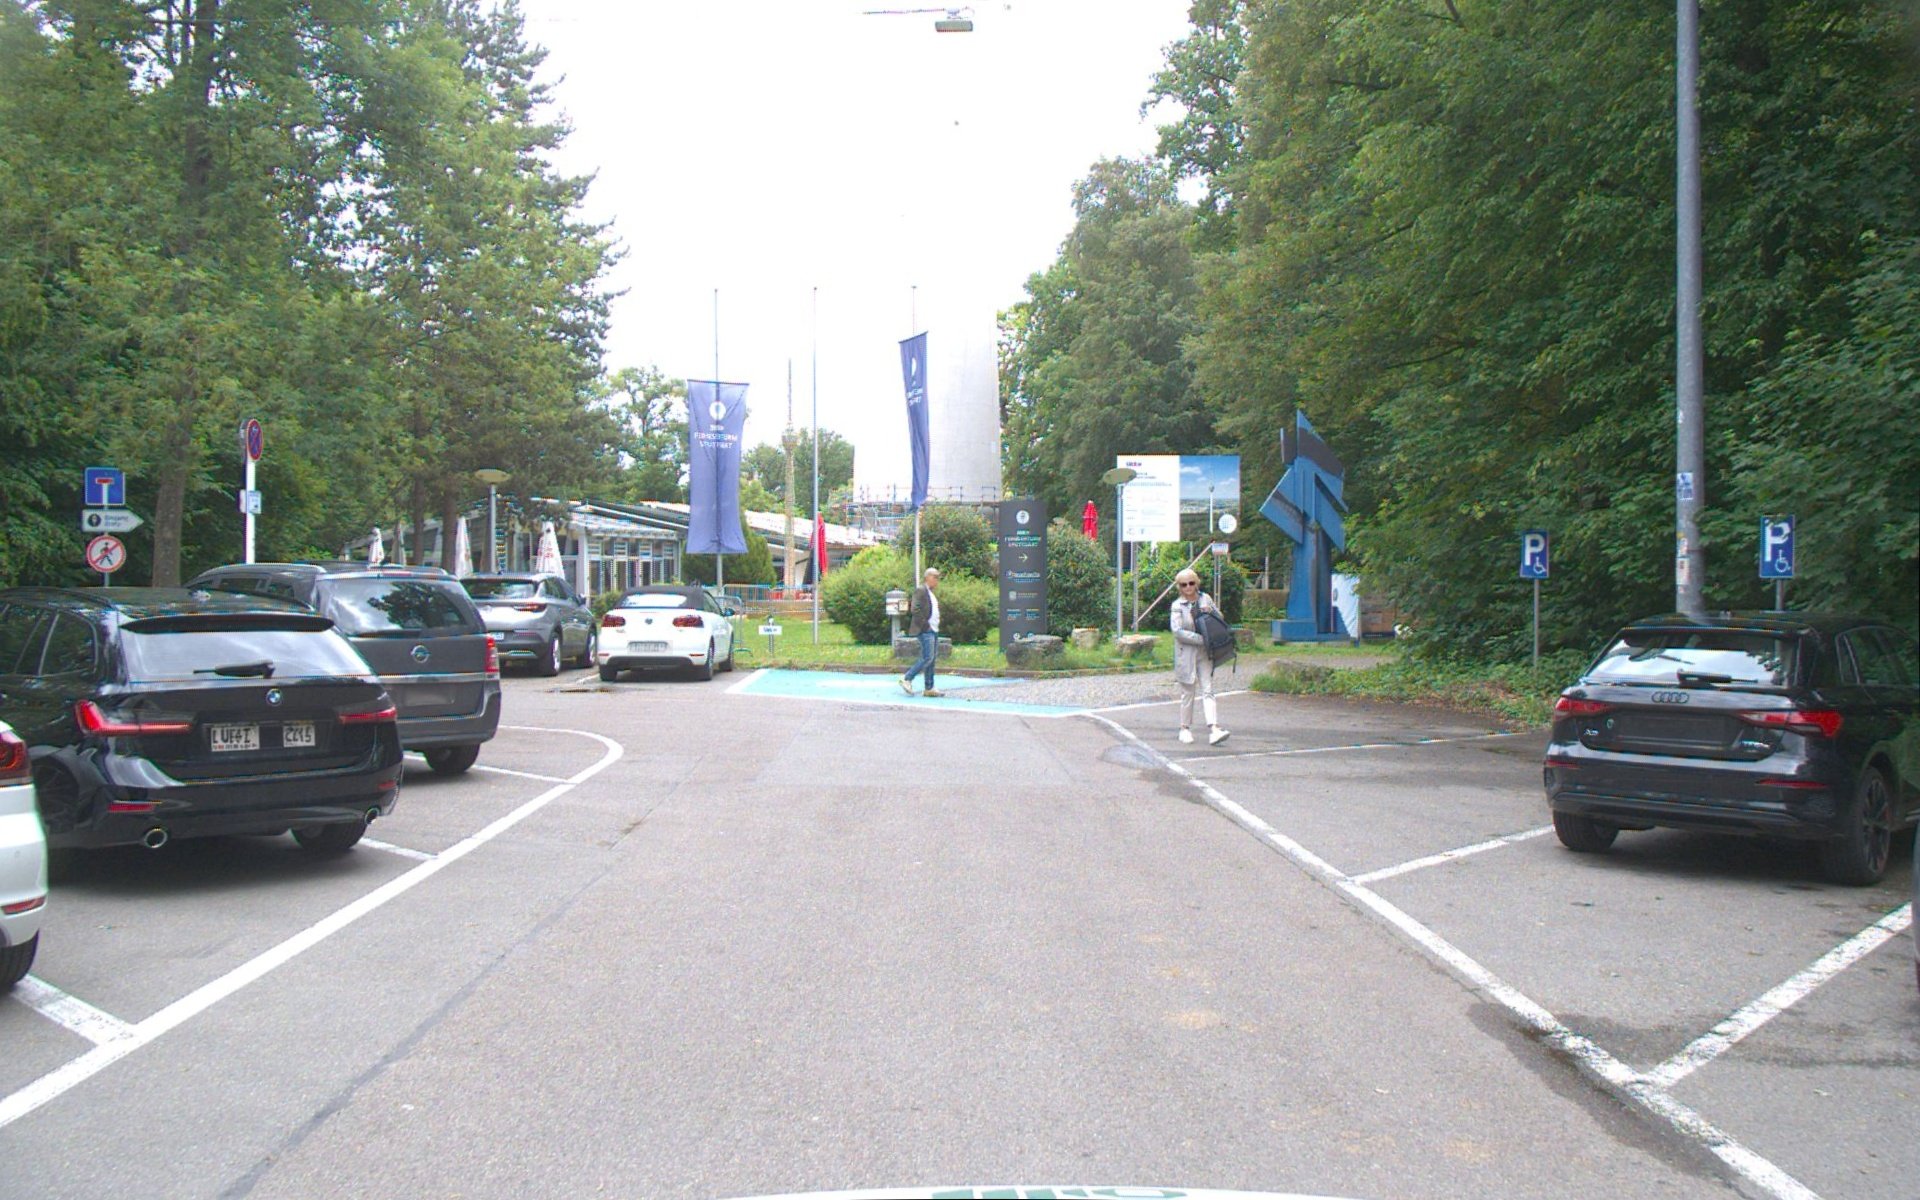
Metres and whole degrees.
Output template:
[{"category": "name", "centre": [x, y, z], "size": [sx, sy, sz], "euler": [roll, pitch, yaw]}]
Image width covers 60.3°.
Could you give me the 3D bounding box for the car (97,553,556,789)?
[{"category": "car", "centre": [-5.330, 0.478, 13.630], "size": [4.310, 1.637, 1.818], "euler": [1, 0, 43]}]

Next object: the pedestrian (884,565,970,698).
[{"category": "pedestrian", "centre": [-0.446, 0.408, 22.299], "size": [0.879, 1.755, 0.761], "euler": [1, 0, 35]}]

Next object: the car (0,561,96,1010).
[{"category": "car", "centre": [-4.892, 0.589, 6.299], "size": [3.781, 1.468, 1.761], "euler": [1, 0, 44]}]

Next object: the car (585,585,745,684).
[{"category": "car", "centre": [-4.633, 0.491, 26.501], "size": [1.854, 1.453, 4.000], "euler": [0, 0, 0]}]

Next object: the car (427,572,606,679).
[{"category": "car", "centre": [-7.166, 0.377, 27.115], "size": [1.854, 1.612, 4.000], "euler": [0, 0, 0]}]

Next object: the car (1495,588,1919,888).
[{"category": "car", "centre": [5.214, 0.696, 10.459], "size": [1.867, 1.488, 4.176], "euler": [1, 0, 44]}]

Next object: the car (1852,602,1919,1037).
[{"category": "car", "centre": [5.081, 0.745, 6.478], "size": [1.877, 1.447, 3.974], "euler": [1, 0, 43]}]

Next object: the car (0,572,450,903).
[{"category": "car", "centre": [-4.806, 0.592, 9.415], "size": [4.202, 1.468, 1.749], "euler": [1, 0, 42]}]

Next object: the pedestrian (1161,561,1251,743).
[{"category": "pedestrian", "centre": [2.432, 0.498, 16.445], "size": [0.746, 1.755, 0.897], "euler": [0, 0, 0]}]
